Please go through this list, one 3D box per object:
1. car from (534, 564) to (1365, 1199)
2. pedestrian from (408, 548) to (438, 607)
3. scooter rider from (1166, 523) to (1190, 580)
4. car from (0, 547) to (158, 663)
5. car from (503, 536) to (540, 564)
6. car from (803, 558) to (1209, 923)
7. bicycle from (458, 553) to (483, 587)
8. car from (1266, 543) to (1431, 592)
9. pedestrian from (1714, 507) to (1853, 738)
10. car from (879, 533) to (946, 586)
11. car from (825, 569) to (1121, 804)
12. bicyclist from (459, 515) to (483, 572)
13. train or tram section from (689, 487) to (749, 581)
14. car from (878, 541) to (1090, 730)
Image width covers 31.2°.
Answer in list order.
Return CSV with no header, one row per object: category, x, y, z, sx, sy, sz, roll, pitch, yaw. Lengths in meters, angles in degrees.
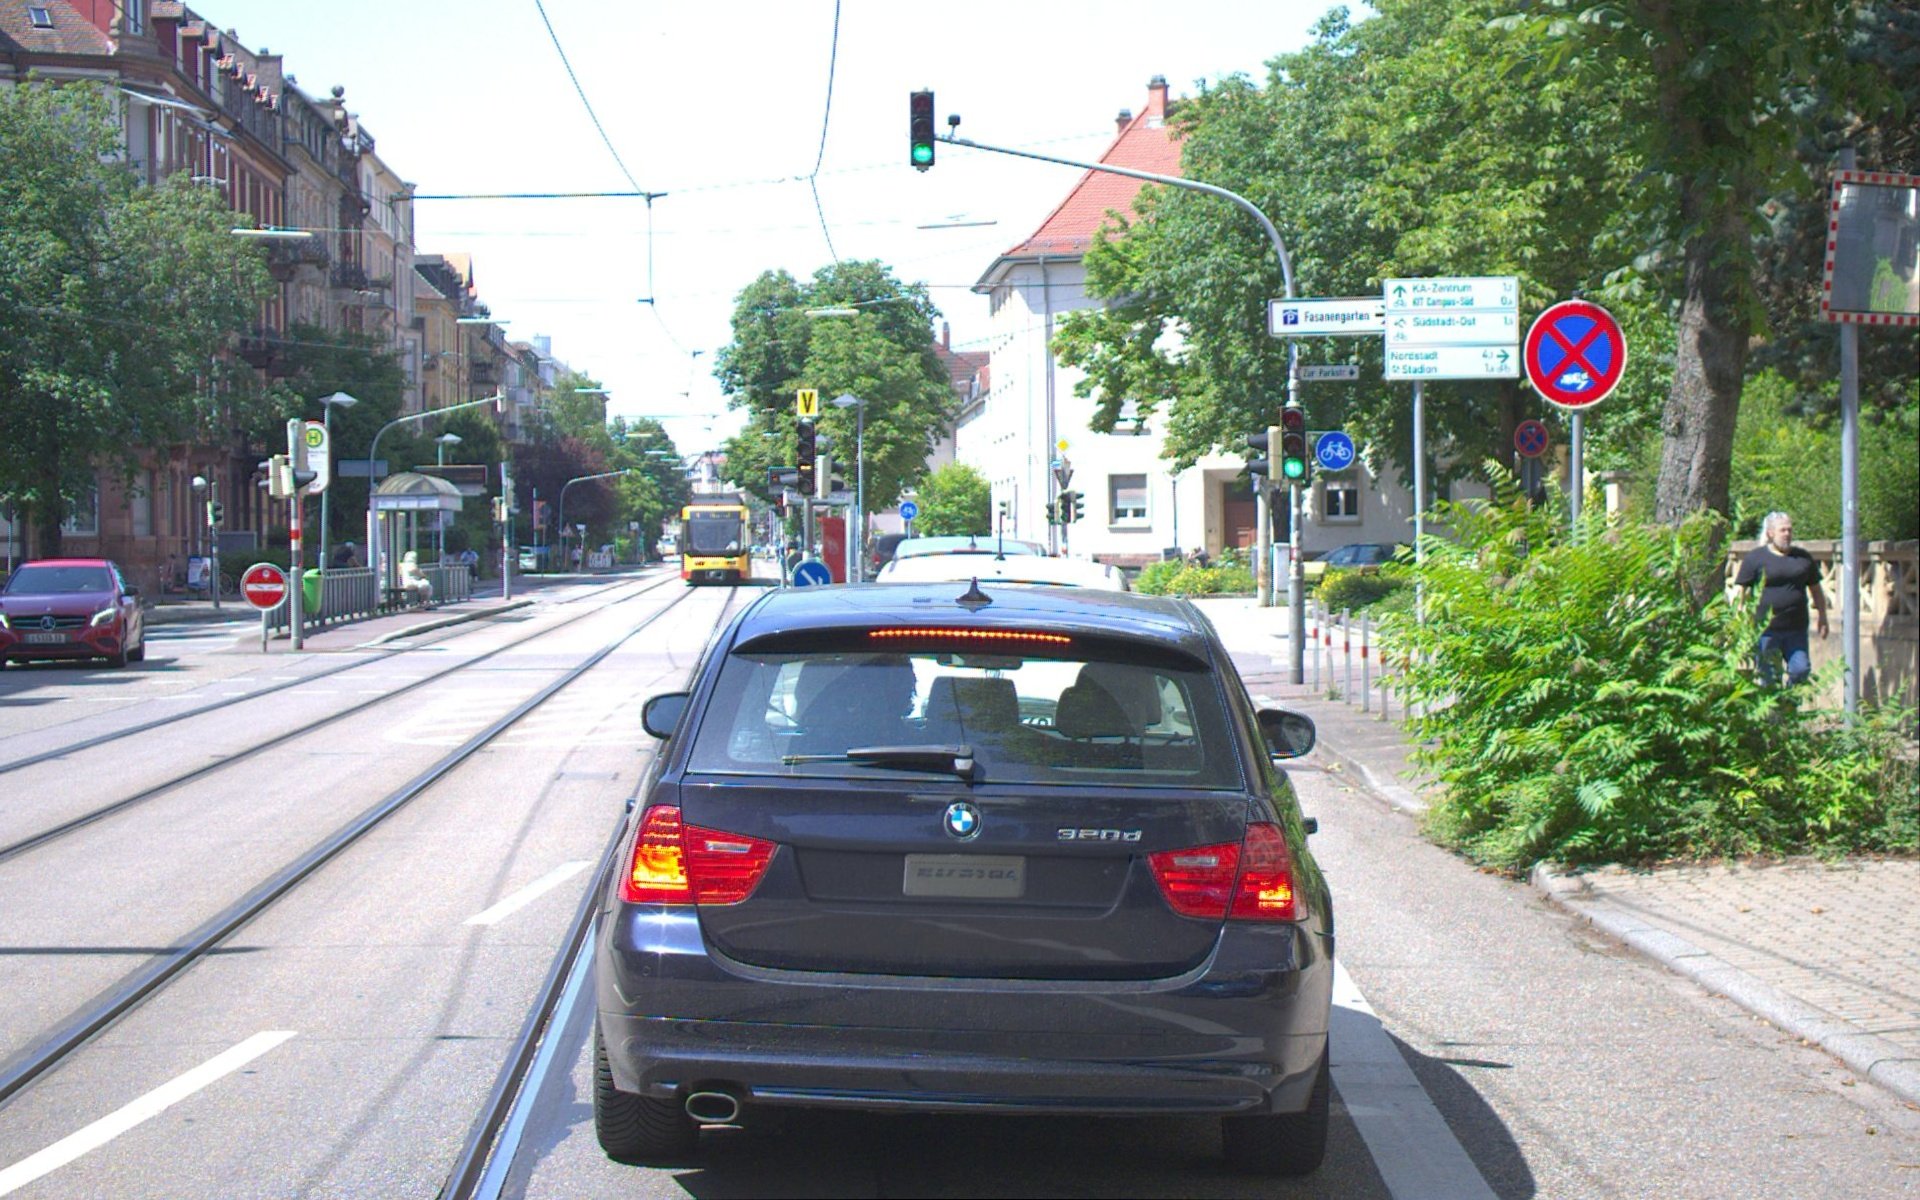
car,0.048,0.648,9.564,1.722,1.404,4.565,2,1,2
pedestrian,-11.410,-0.479,73.084,0.613,1.238,0.628,-1,1,-9
scooter rider,6.490,-1.455,102.231,0.590,1.681,0.528,-1,1,-8
car,-11.831,0.028,45.936,1.822,1.408,4.430,-2,1,-9
car,-25.170,-2.848,197.153,1.787,1.580,4.001,1,0,-12
car,0.154,0.565,16.216,1.685,1.479,3.685,-1,1,-1
bicycle,-16.352,-1.004,114.860,0.728,1.098,1.716,0,1,-5
car,10.169,-0.849,90.096,3.994,1.239,1.620,0,1,32
pedestrian,5.988,0.155,25.045,0.857,1.640,0.836,-1,1,5
car,-1.718,-1.468,123.666,1.993,1.842,4.001,-1,1,-7
car,0.000,0.480,21.753,1.691,1.318,3.822,0,1,-2
bicyclist,-16.344,-1.889,114.897,0.722,1.864,0.825,-1,1,-6
train or tram section,-9.208,-2.540,131.763,2.190,3.470,8.846,-1,1,-4
car,0.201,0.252,29.700,1.691,1.508,3.821,1,1,0
